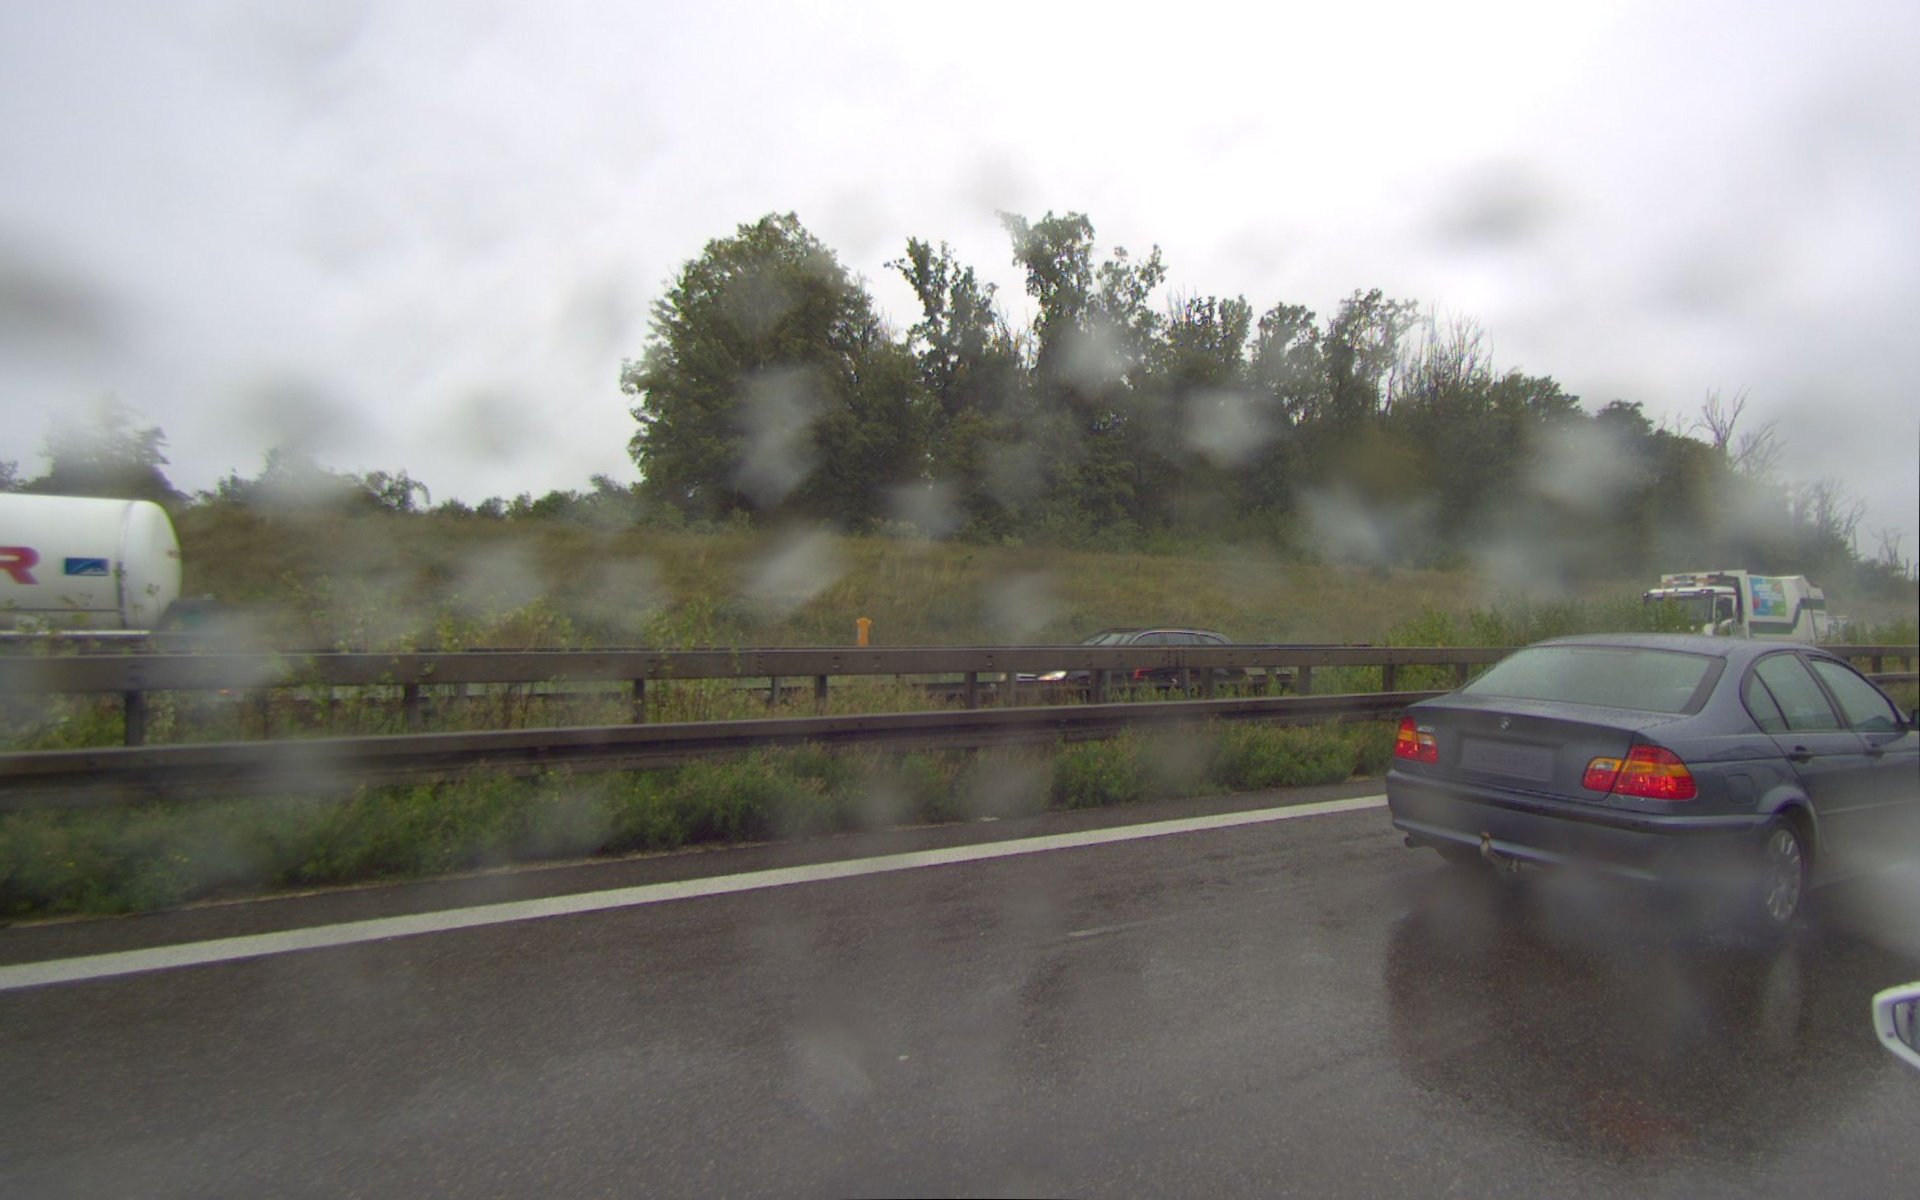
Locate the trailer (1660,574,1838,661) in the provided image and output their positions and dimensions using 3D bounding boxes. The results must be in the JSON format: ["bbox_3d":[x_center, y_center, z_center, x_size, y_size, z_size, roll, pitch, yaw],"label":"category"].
[{"bbox_3d":[28.282,0.720,35.938,7.237,2.754,2.471,3,-3,-30],"label":"trailer"}]

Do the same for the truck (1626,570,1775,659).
[{"bbox_3d":[25.190,0.565,34.170,4.474,2.754,2.471,3,-3,-29],"label":"truck"}]

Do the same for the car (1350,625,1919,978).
[{"bbox_3d":[4.397,0.892,5.990,4.183,1.418,1.709,1,-1,-32],"label":"car"}]

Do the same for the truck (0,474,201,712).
[{"bbox_3d":[-16.469,-0.177,13.806,9.241,3.341,2.543,3,-3,-31],"label":"truck"}]
